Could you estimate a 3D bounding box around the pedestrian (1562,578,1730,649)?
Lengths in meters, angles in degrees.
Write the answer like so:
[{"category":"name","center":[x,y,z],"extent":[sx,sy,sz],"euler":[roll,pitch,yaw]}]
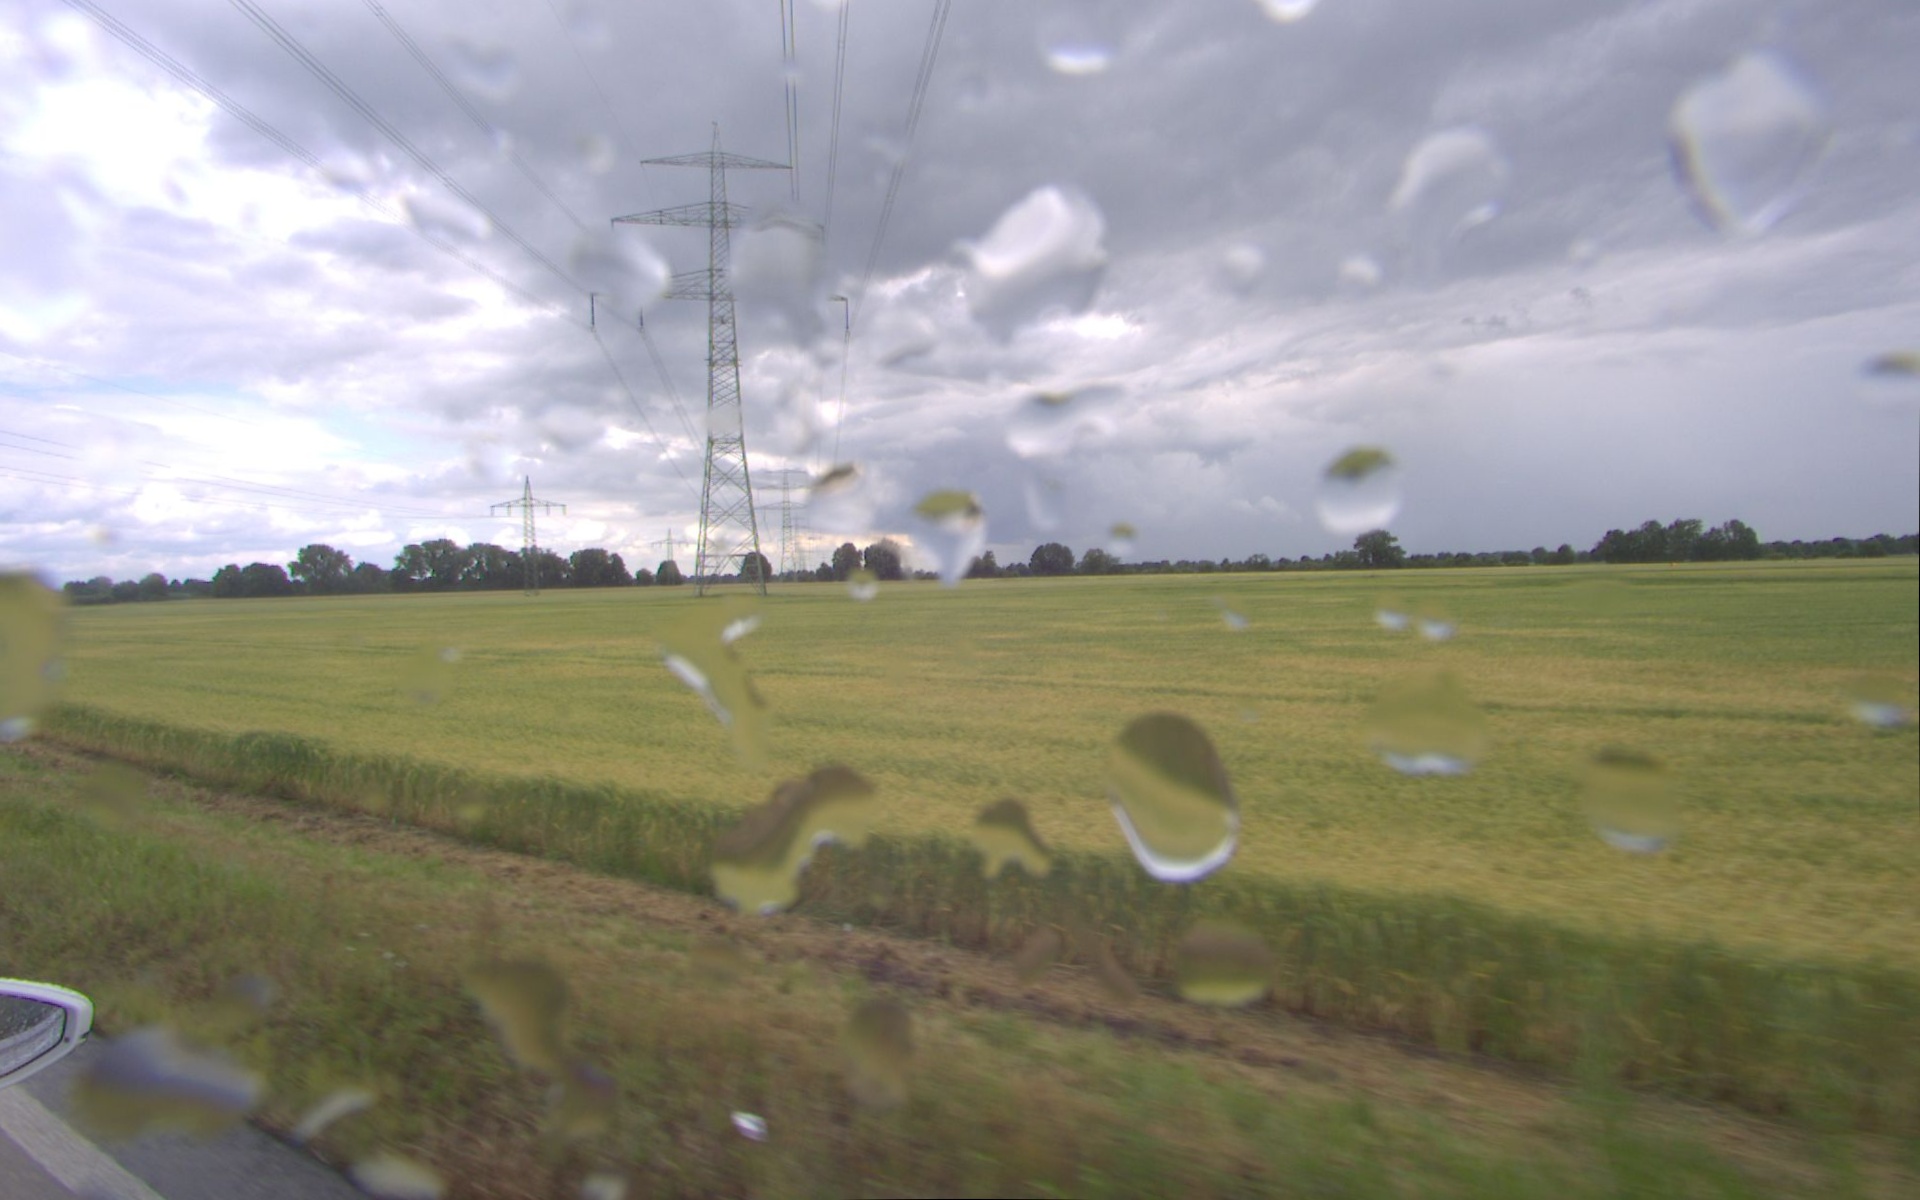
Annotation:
[{"category":"pedestrian","center":[21.374,0.466,31.400],"extent":[3.931,2.039,1.996],"euler":[-2,-2,21]}]
